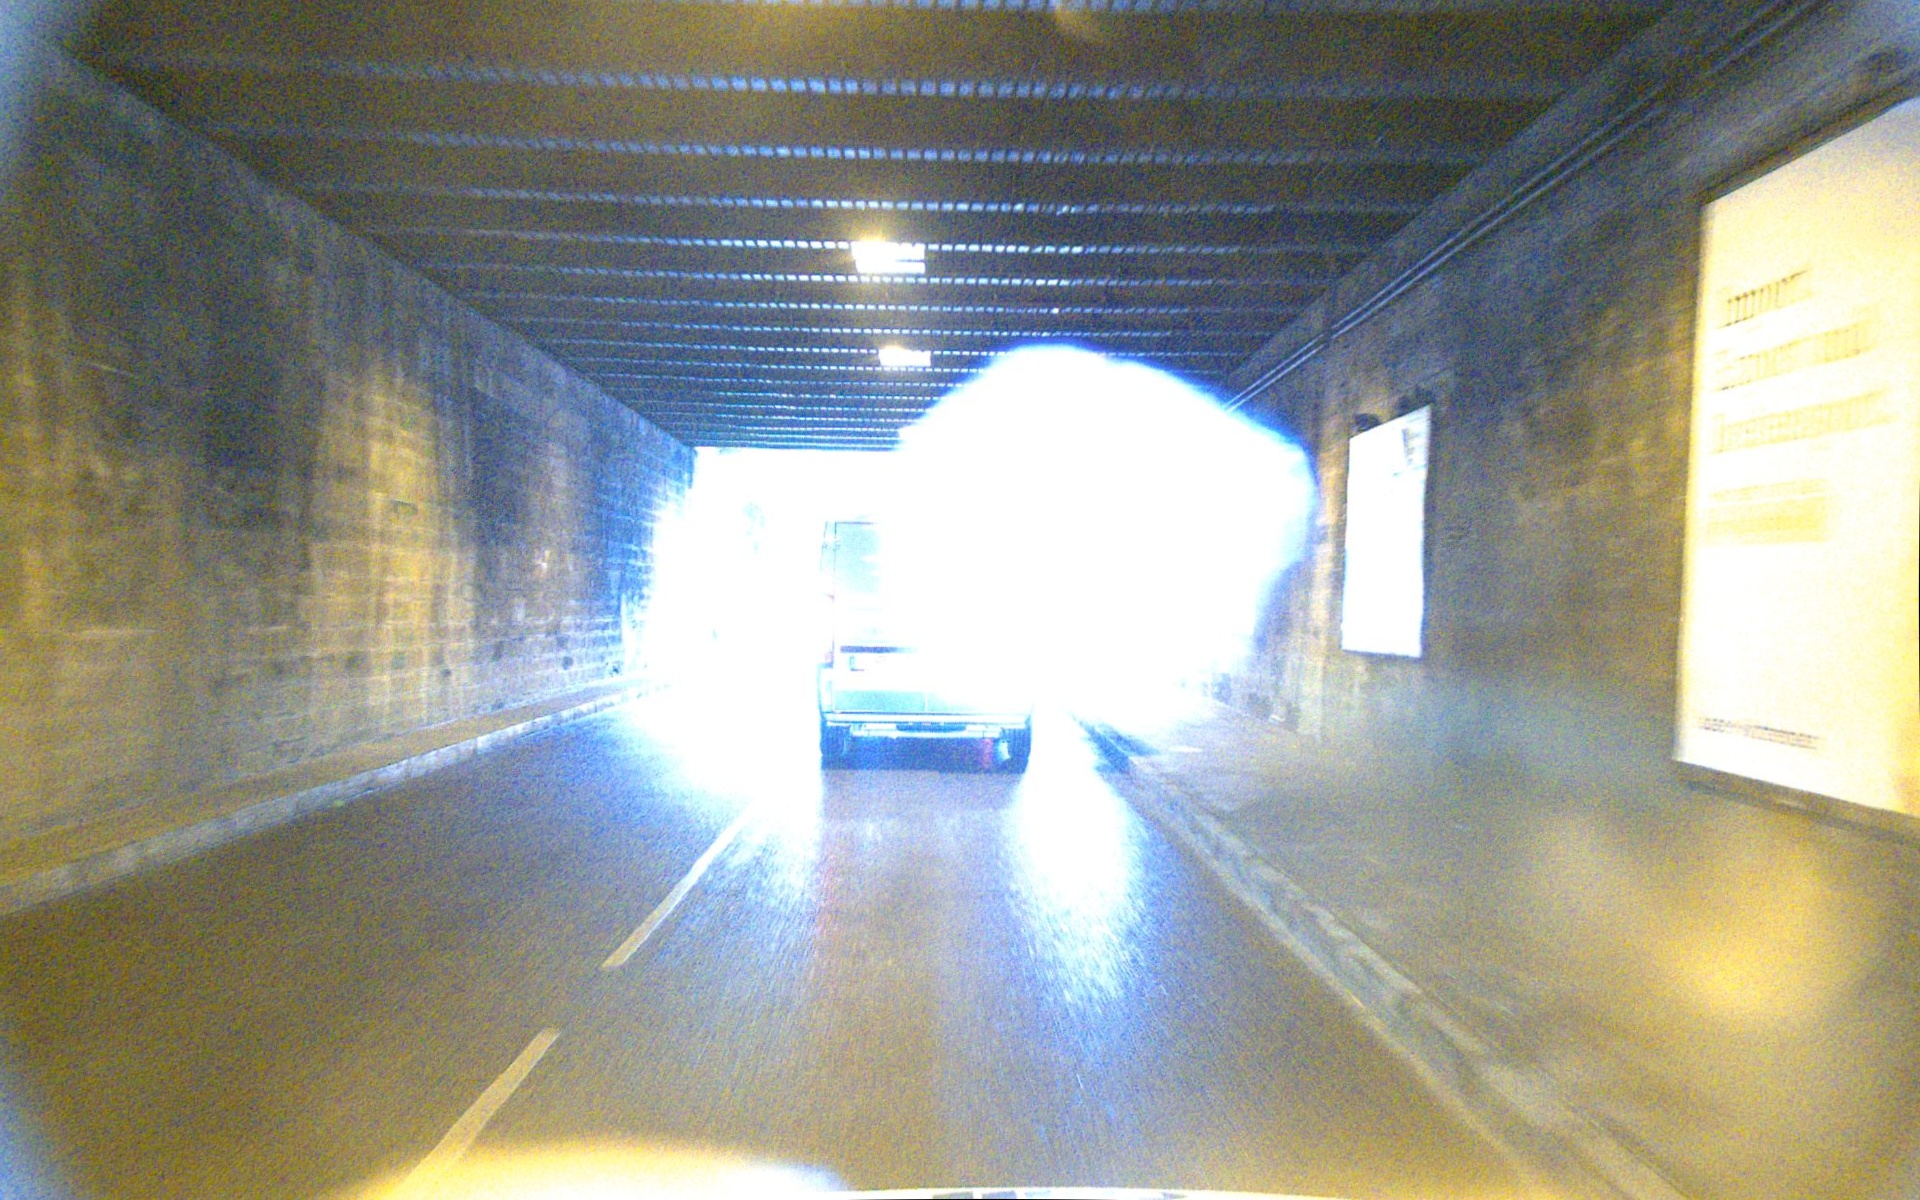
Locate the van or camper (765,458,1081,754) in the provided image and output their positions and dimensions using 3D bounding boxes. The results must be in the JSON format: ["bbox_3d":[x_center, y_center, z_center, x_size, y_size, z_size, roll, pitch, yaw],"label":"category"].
[{"bbox_3d":[-0.394,0.120,16.530,2.644,2.459,4.900,1,-2,-2],"label":"van or camper"}]

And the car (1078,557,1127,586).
[{"bbox_3d":[7.999,-1.599,93.477,1.956,1.512,3.994,1,0,-7],"label":"car"}]

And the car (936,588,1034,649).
[{"bbox_3d":[0.698,0.465,42.590,1.797,1.463,4.106,1,0,11],"label":"car"}]

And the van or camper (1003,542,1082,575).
[{"bbox_3d":[5.595,-2.790,111.933,5.196,2.049,2.079,1,0,5],"label":"van or camper"}]

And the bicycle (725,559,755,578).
[{"bbox_3d":[-13.834,-1.985,104.184,0.908,1.148,2.291,1,0,20],"label":"bicycle"}]

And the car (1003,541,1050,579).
[{"bbox_3d":[3.709,-2.214,92.744,1.956,1.982,3.994,1,0,-7],"label":"car"}]
